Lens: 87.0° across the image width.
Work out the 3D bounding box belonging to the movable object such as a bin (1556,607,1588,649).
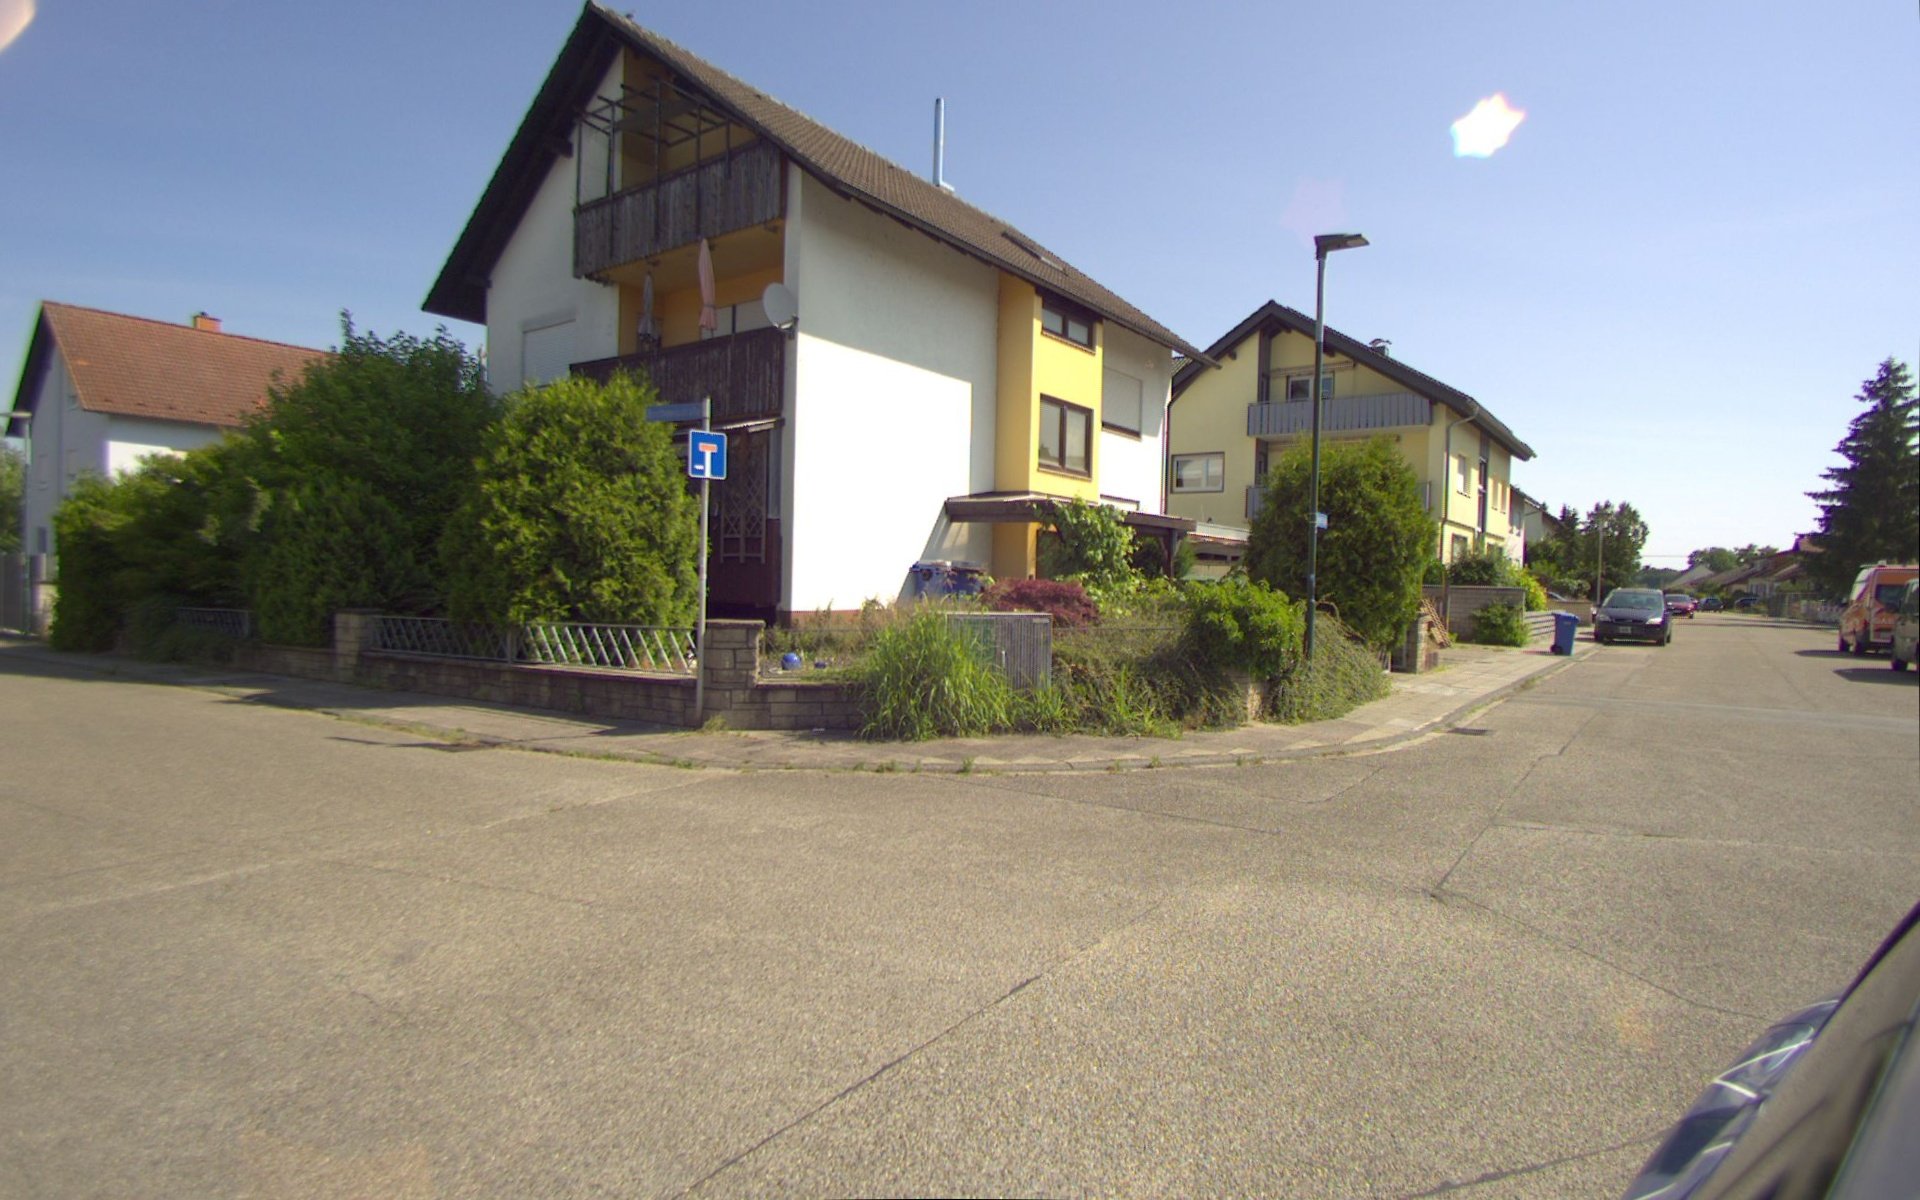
[{"bbox_3d":[14.081,0.629,23.284,0.581,0.928,0.590,1,0,36],"label":"movable object such as a bin"}]

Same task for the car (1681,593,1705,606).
[{"bbox_3d":[82.819,-0.051,114.428,1.695,1.357,3.959,1,-1,28],"label":"car"}]

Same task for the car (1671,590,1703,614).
[{"bbox_3d":[45.569,0.106,63.468,1.508,1.424,3.632,1,0,34],"label":"car"}]

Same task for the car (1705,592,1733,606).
[{"bbox_3d":[77.336,-0.092,103.096,1.695,1.357,3.959,1,-1,28],"label":"car"}]

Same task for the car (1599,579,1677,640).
[{"bbox_3d":[20.332,0.260,30.300,1.625,1.646,3.945,3,2,38],"label":"car"}]

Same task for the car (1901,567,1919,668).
[{"bbox_3d":[19.328,0.349,19.008,1.860,1.962,4.150,1,1,36],"label":"car"}]

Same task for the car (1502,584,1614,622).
[{"bbox_3d":[26.675,0.120,45.179,4.152,1.639,1.850,1,-1,37],"label":"car"}]

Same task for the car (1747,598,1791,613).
[{"bbox_3d":[85.994,0.591,107.631,3.387,1.549,1.620,1,1,31],"label":"car"}]

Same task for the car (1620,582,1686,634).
[{"bbox_3d":[23.771,0.253,34.671,1.625,1.646,3.945,1,0,38],"label":"car"}]

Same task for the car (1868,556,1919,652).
[{"bbox_3d":[24.973,0.088,26.317,1.547,2.353,4.150,1,1,36],"label":"car"}]
